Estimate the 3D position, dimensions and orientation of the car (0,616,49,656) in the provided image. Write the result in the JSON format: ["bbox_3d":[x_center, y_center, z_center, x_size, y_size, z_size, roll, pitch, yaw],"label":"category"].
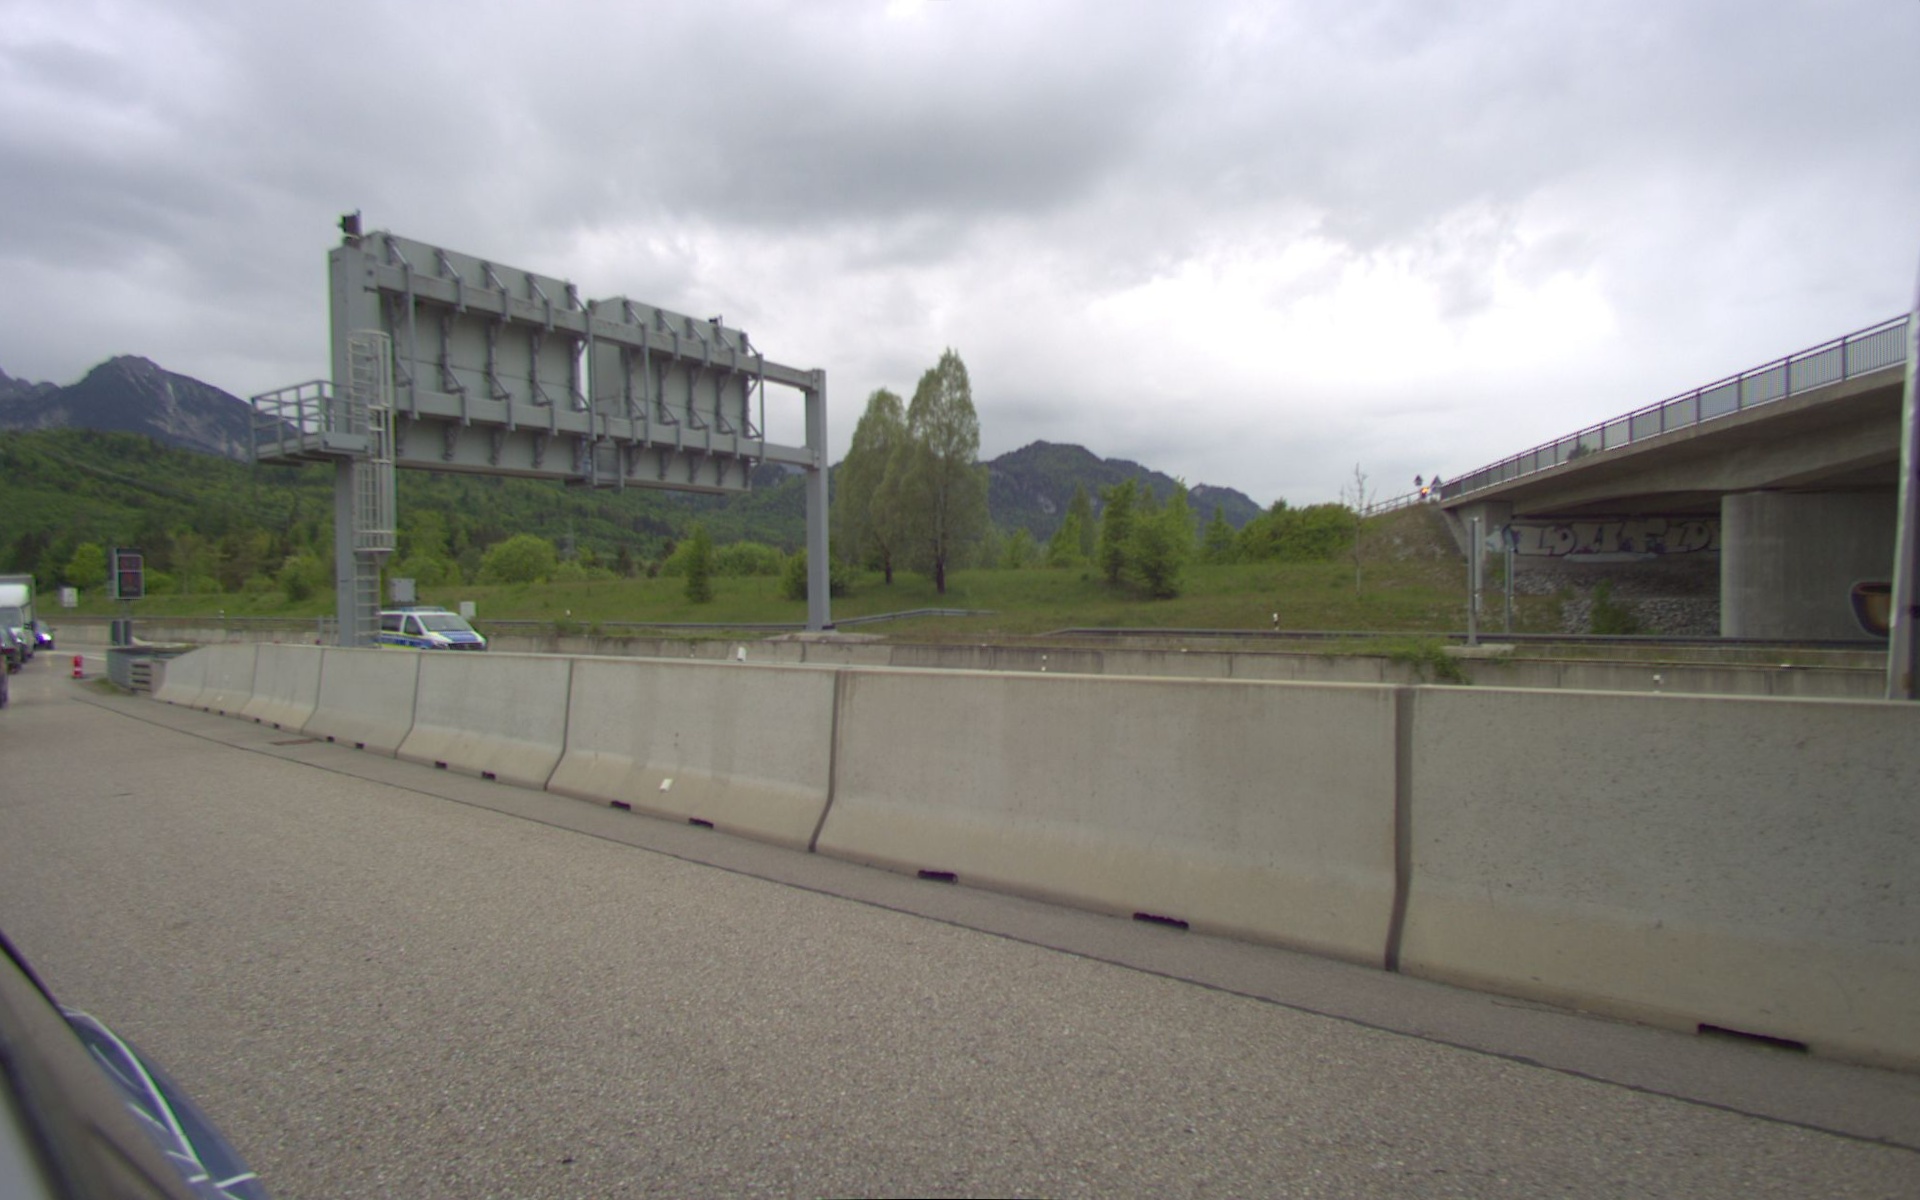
[{"bbox_3d":[-45.197,1.705,48.774,1.718,1.778,4.003,-3,1,-44],"label":"car"}]

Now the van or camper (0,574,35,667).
[{"bbox_3d":[-38.262,0.806,39.952,2.545,3.417,7.364,1,-1,-42],"label":"van or camper"}]

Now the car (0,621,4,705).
[{"bbox_3d":[-19.428,1.244,19.333,1.568,1.684,4.005,1,-2,-42],"label":"car"}]

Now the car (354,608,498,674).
[{"bbox_3d":[-17.683,1.302,33.427,5.039,2.029,2.081,-1,-1,34],"label":"car"}]
